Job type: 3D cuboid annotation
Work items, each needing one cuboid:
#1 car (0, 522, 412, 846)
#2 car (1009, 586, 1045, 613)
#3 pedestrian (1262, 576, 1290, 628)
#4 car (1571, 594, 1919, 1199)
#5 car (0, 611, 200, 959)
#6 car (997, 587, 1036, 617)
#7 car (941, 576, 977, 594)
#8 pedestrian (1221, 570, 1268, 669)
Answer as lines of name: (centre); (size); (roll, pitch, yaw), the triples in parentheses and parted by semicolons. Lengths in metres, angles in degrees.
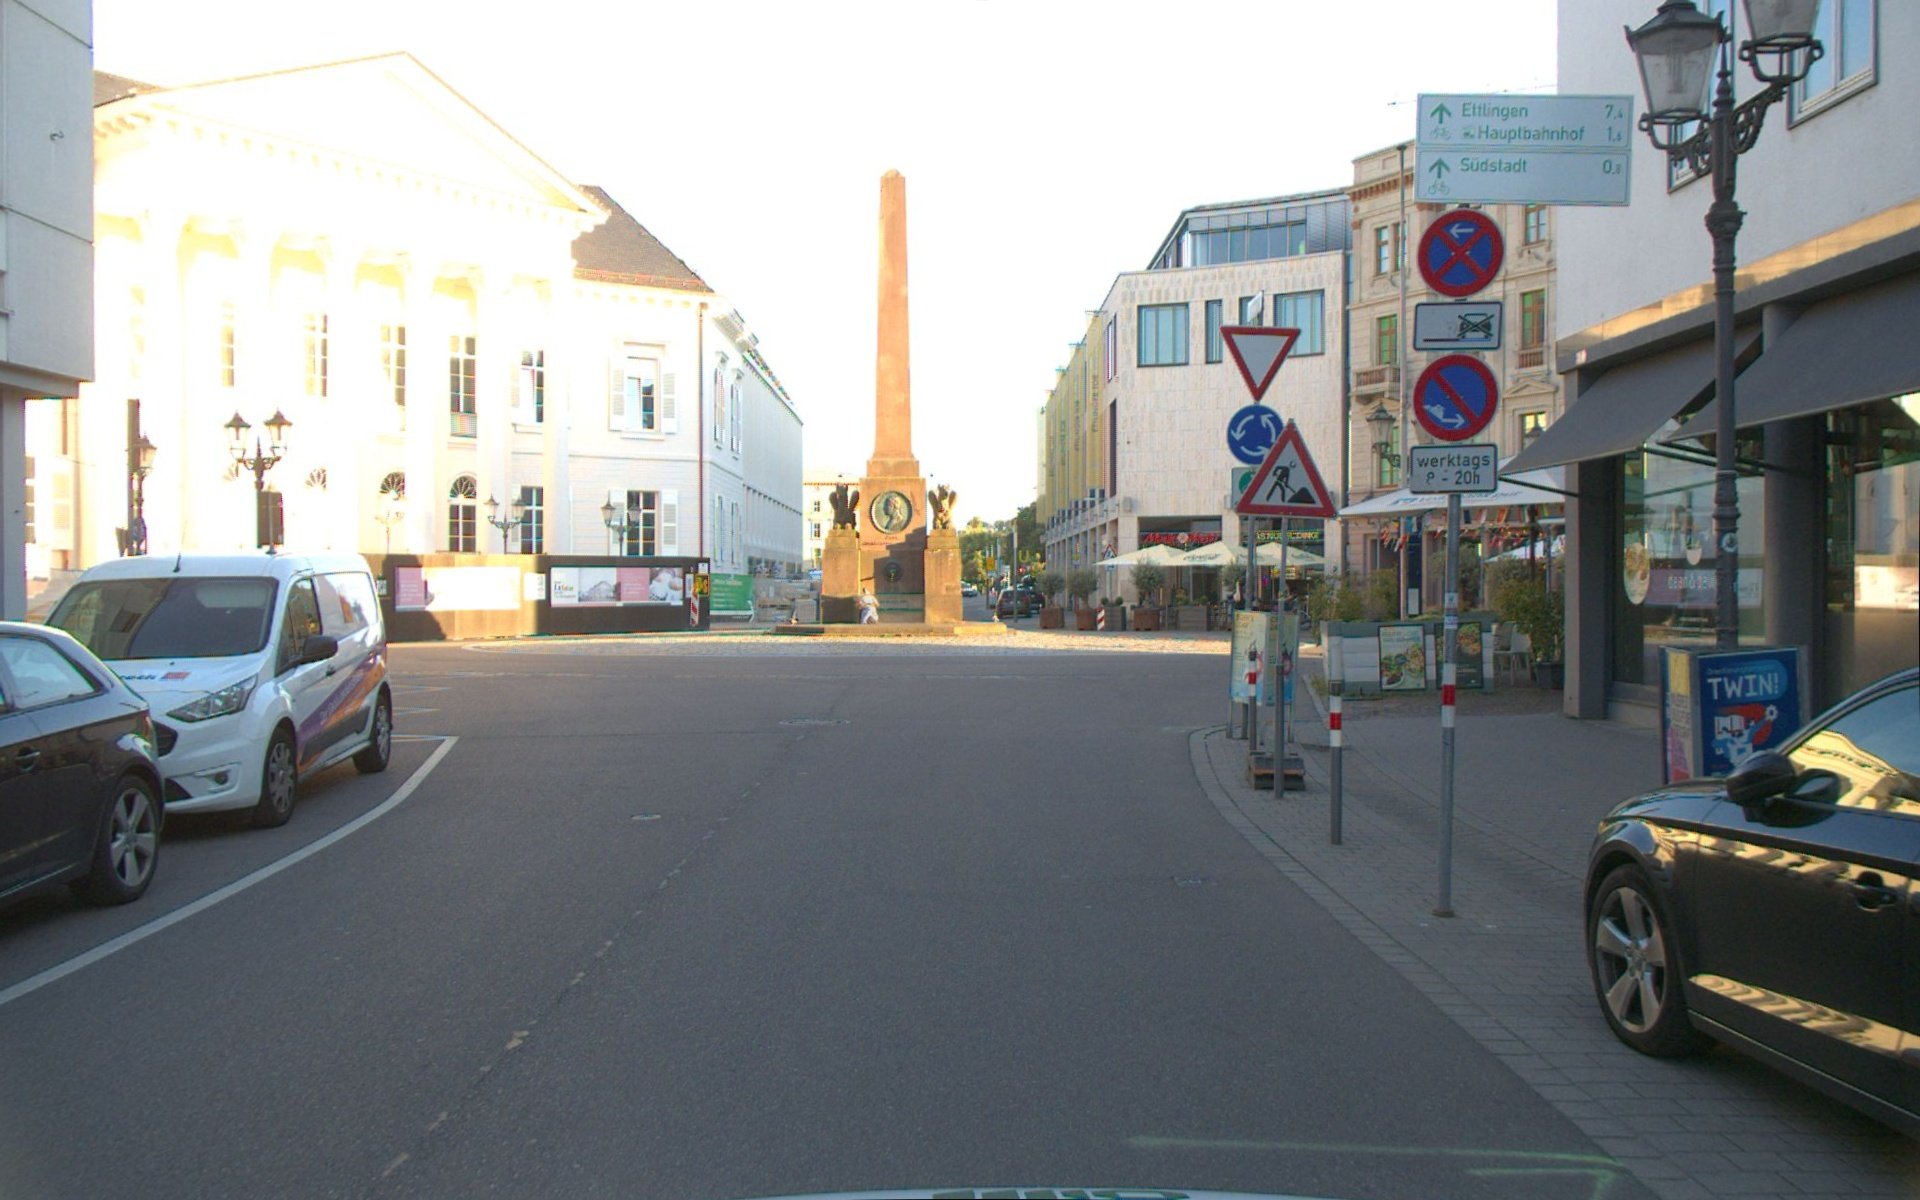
car: (-5.426, 0.452, 11.838); (1.956, 1.847, 4.776); (0, 1, -7)
car: (3.770, -0.026, 93.952); (1.952, 1.489, 4.001); (0, 1, 1)
pedestrian: (10.776, 0.054, 56.379); (0.885, 1.759, 0.850); (0, 0, 8)
car: (3.235, 0.748, 4.061); (1.766, 1.489, 4.115); (-1, 1, -3)
car: (-4.721, 0.772, 6.609); (1.644, 1.377, 4.103); (0, 1, -3)
car: (2.898, 0.091, 85.474); (1.952, 1.489, 4.001); (0, 1, 1)
car: (-0.088, -1.725, 189.614); (3.933, 2.049, 1.986); (0, 1, 44)
pedestrian: (4.860, 0.322, 28.269); (0.676, 1.676, 0.695); (0, 0, -1)
